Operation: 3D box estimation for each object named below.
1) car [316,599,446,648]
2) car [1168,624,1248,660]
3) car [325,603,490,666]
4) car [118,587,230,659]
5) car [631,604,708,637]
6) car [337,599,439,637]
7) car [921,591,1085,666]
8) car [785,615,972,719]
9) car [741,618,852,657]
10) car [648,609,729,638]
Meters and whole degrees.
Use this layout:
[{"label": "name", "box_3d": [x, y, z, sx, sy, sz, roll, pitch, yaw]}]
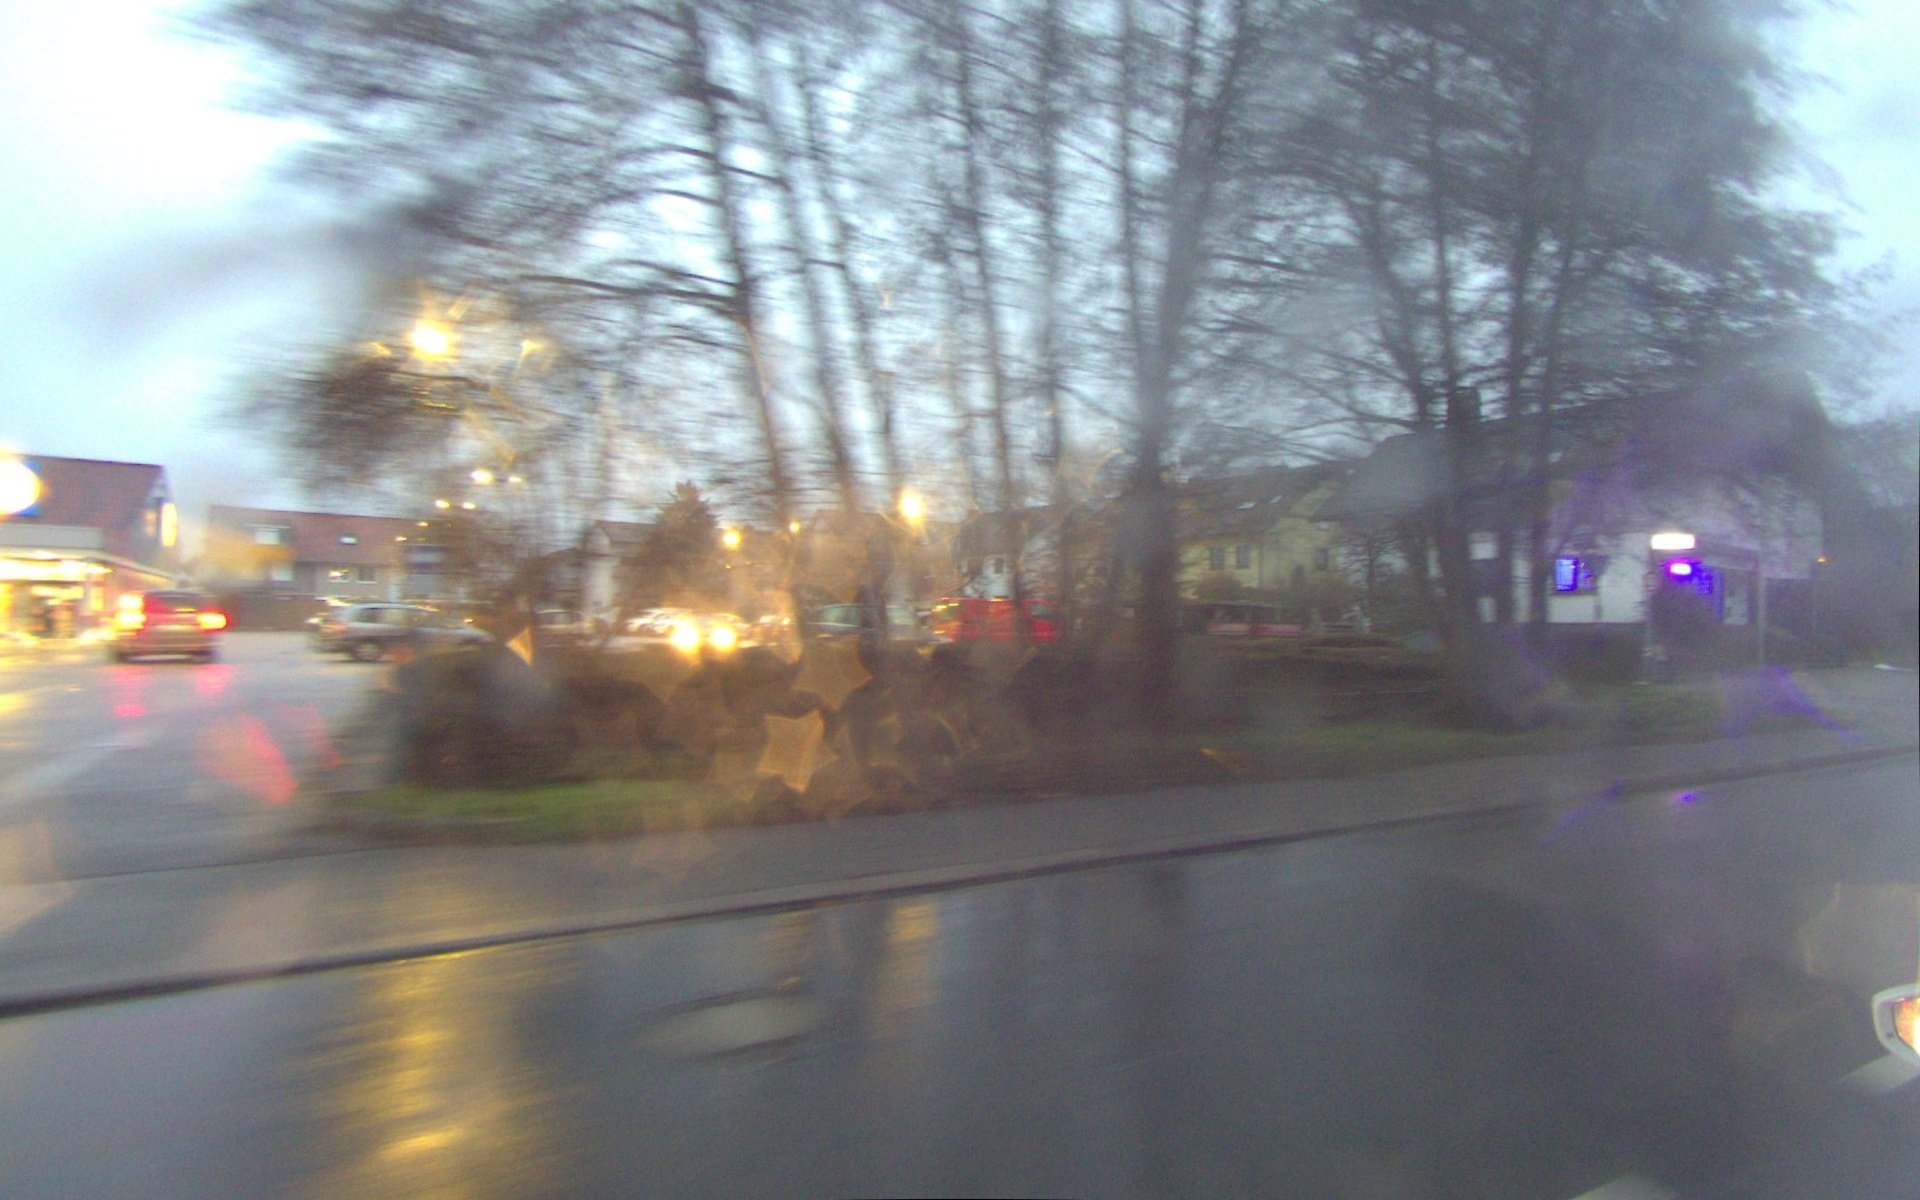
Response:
[{"label": "car", "box_3d": [-21.563, 0.828, 37.465, 3.966, 1.639, 1.896, -1, 2, -39]}, {"label": "car", "box_3d": [10.466, 1.773, 42.322, 3.341, 1.350, 1.423, 2, 2, -36]}, {"label": "car", "box_3d": [-16.109, 0.947, 29.352, 3.966, 1.639, 1.896, -1, 2, -39]}, {"label": "car", "box_3d": [-20.151, 0.546, 25.694, 1.954, 1.694, 4.366, 0, 0, -42]}, {"label": "car", "box_3d": [-19.434, 1.344, 67.248, 4.613, 2.003, 2.108, 0, 2, -34]}, {"label": "car", "box_3d": [-27.143, 0.831, 47.683, 3.966, 1.639, 1.896, -1, 2, -39]}, {"label": "car", "box_3d": [1.486, 0.883, 33.778, 5.214, 2.310, 2.266, 0, 2, -34]}, {"label": "car", "box_3d": [-2.032, 1.455, 23.749, 2.111, 2.003, 4.605, 0, 2, -40]}, {"label": "car", "box_3d": [-7.503, 1.672, 46.223, 4.613, 1.590, 2.034, 0, 2, -34]}, {"label": "car", "box_3d": [-16.913, 1.427, 62.628, 4.469, 1.662, 1.920, 0, 3, -33]}]
